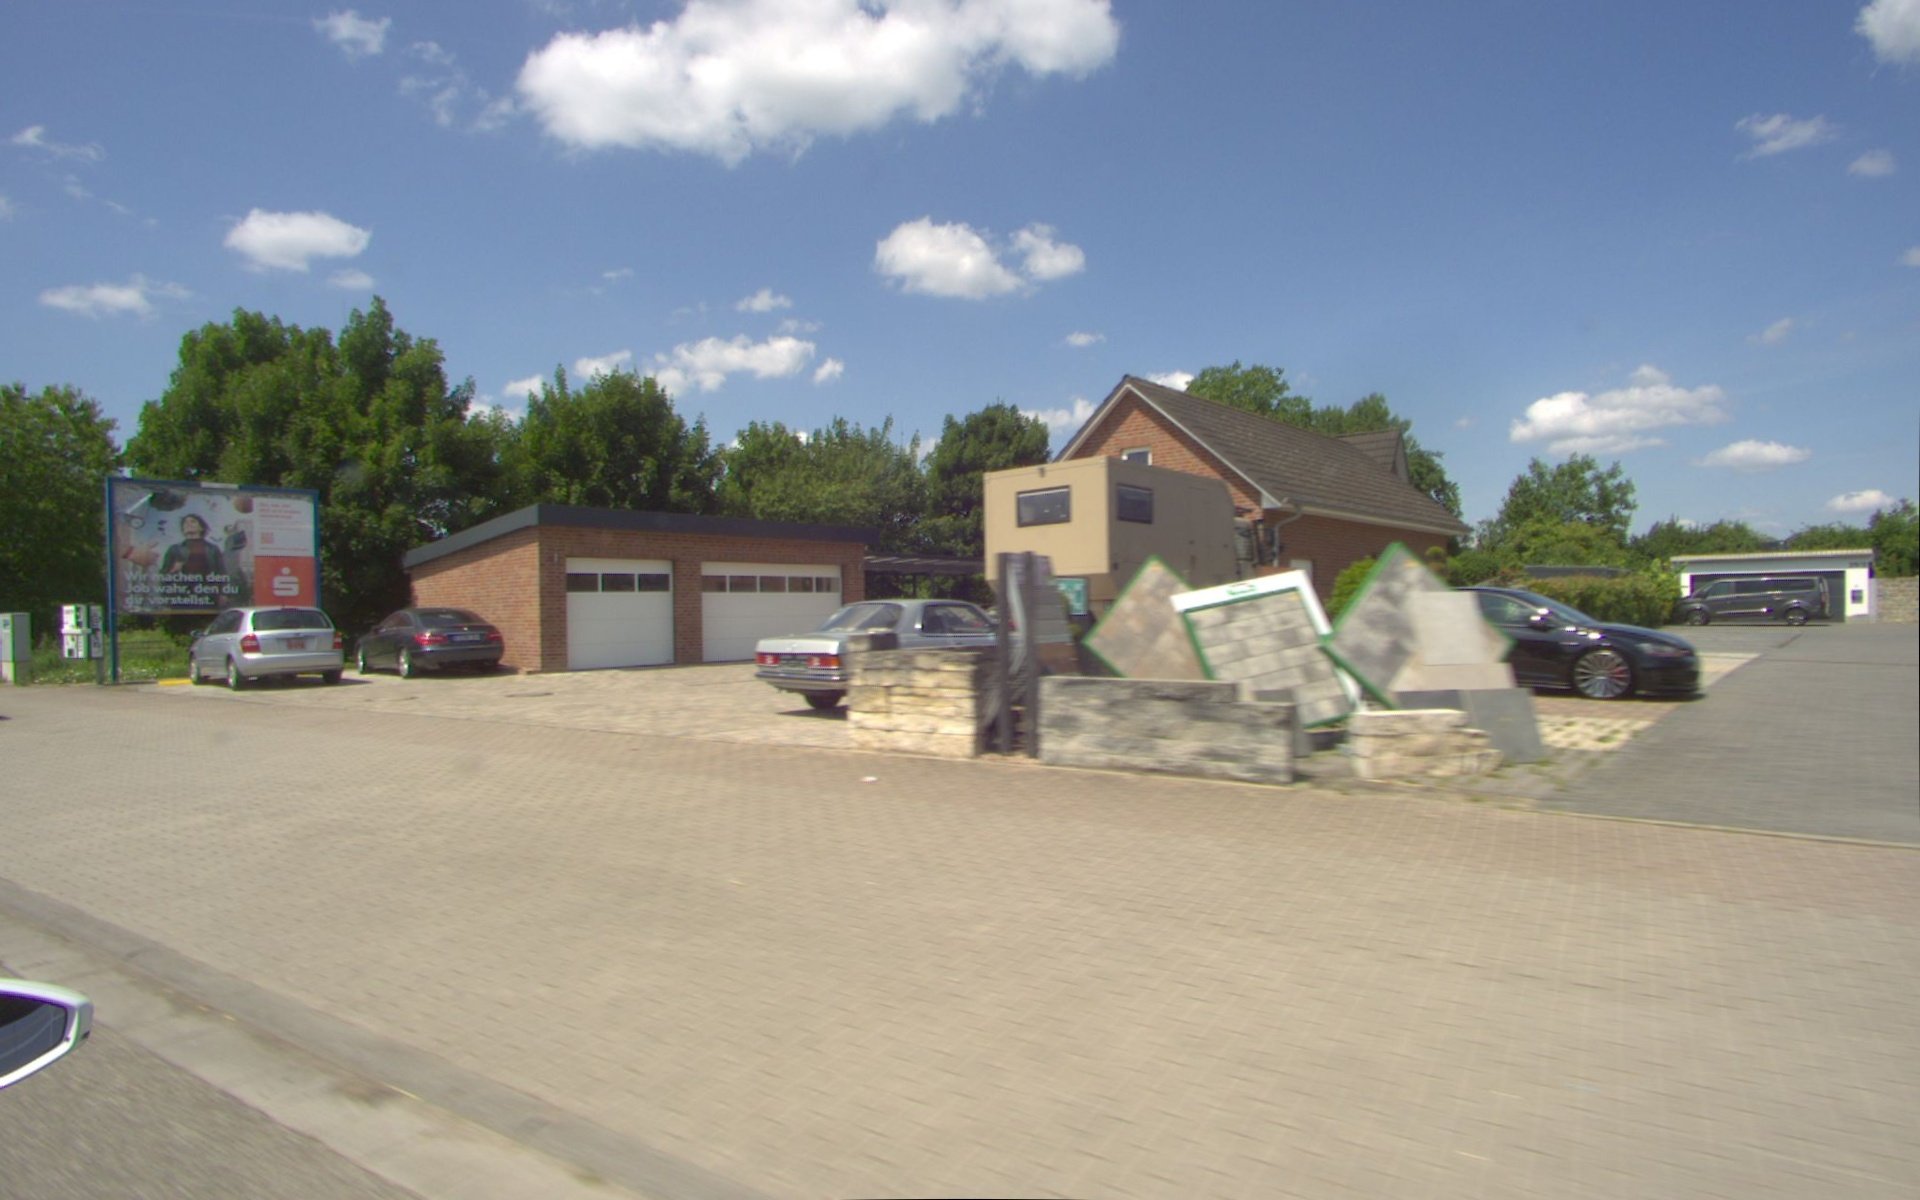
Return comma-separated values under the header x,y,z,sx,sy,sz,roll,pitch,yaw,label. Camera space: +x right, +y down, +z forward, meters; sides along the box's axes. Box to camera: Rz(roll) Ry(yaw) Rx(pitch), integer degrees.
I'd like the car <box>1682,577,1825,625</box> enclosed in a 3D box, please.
x,y,z,sx,sy,sz,roll,pitch,yaw,label
33.286,0.058,42.106,4.647,1.926,1.773,-1,0,42,car

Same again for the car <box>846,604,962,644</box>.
x,y,z,sx,sy,sz,roll,pitch,yaw,label
-1.991,0.850,35.373,3.755,1.353,1.639,-1,0,24,car

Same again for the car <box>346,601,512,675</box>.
x,y,z,sx,sy,sz,roll,pitch,yaw,label
-11.126,0.743,20.873,3.953,1.394,1.738,-1,0,41,car

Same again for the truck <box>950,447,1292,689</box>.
x,y,z,sx,sy,sz,roll,pitch,yaw,label
3.095,-0.461,17.714,3.071,3.433,6.429,0,0,41,truck

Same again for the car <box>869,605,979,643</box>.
x,y,z,sx,sy,sz,roll,pitch,yaw,label
-1.324,0.885,37.257,3.755,1.353,1.639,-1,0,24,car

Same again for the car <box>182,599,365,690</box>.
x,y,z,sx,sy,sz,roll,pitch,yaw,label
-13.206,0.781,19.182,3.953,1.500,1.896,-1,2,41,car

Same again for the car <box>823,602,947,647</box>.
x,y,z,sx,sy,sz,roll,pitch,yaw,label
-2.464,0.796,32.968,3.755,1.408,1.639,-1,0,24,car

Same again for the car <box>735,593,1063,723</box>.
x,y,z,sx,sy,sz,roll,pitch,yaw,label
-0.659,0.642,13.378,1.955,1.439,4.245,-1,0,42,car

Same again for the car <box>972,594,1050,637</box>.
x,y,z,sx,sy,sz,roll,pitch,yaw,label
1.772,0.478,33.598,1.615,1.353,3.810,-1,0,20,car

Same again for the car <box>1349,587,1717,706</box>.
x,y,z,sx,sy,sz,roll,pitch,yaw,label
7.496,0.537,13.334,3.960,1.341,1.771,-1,0,44,car
